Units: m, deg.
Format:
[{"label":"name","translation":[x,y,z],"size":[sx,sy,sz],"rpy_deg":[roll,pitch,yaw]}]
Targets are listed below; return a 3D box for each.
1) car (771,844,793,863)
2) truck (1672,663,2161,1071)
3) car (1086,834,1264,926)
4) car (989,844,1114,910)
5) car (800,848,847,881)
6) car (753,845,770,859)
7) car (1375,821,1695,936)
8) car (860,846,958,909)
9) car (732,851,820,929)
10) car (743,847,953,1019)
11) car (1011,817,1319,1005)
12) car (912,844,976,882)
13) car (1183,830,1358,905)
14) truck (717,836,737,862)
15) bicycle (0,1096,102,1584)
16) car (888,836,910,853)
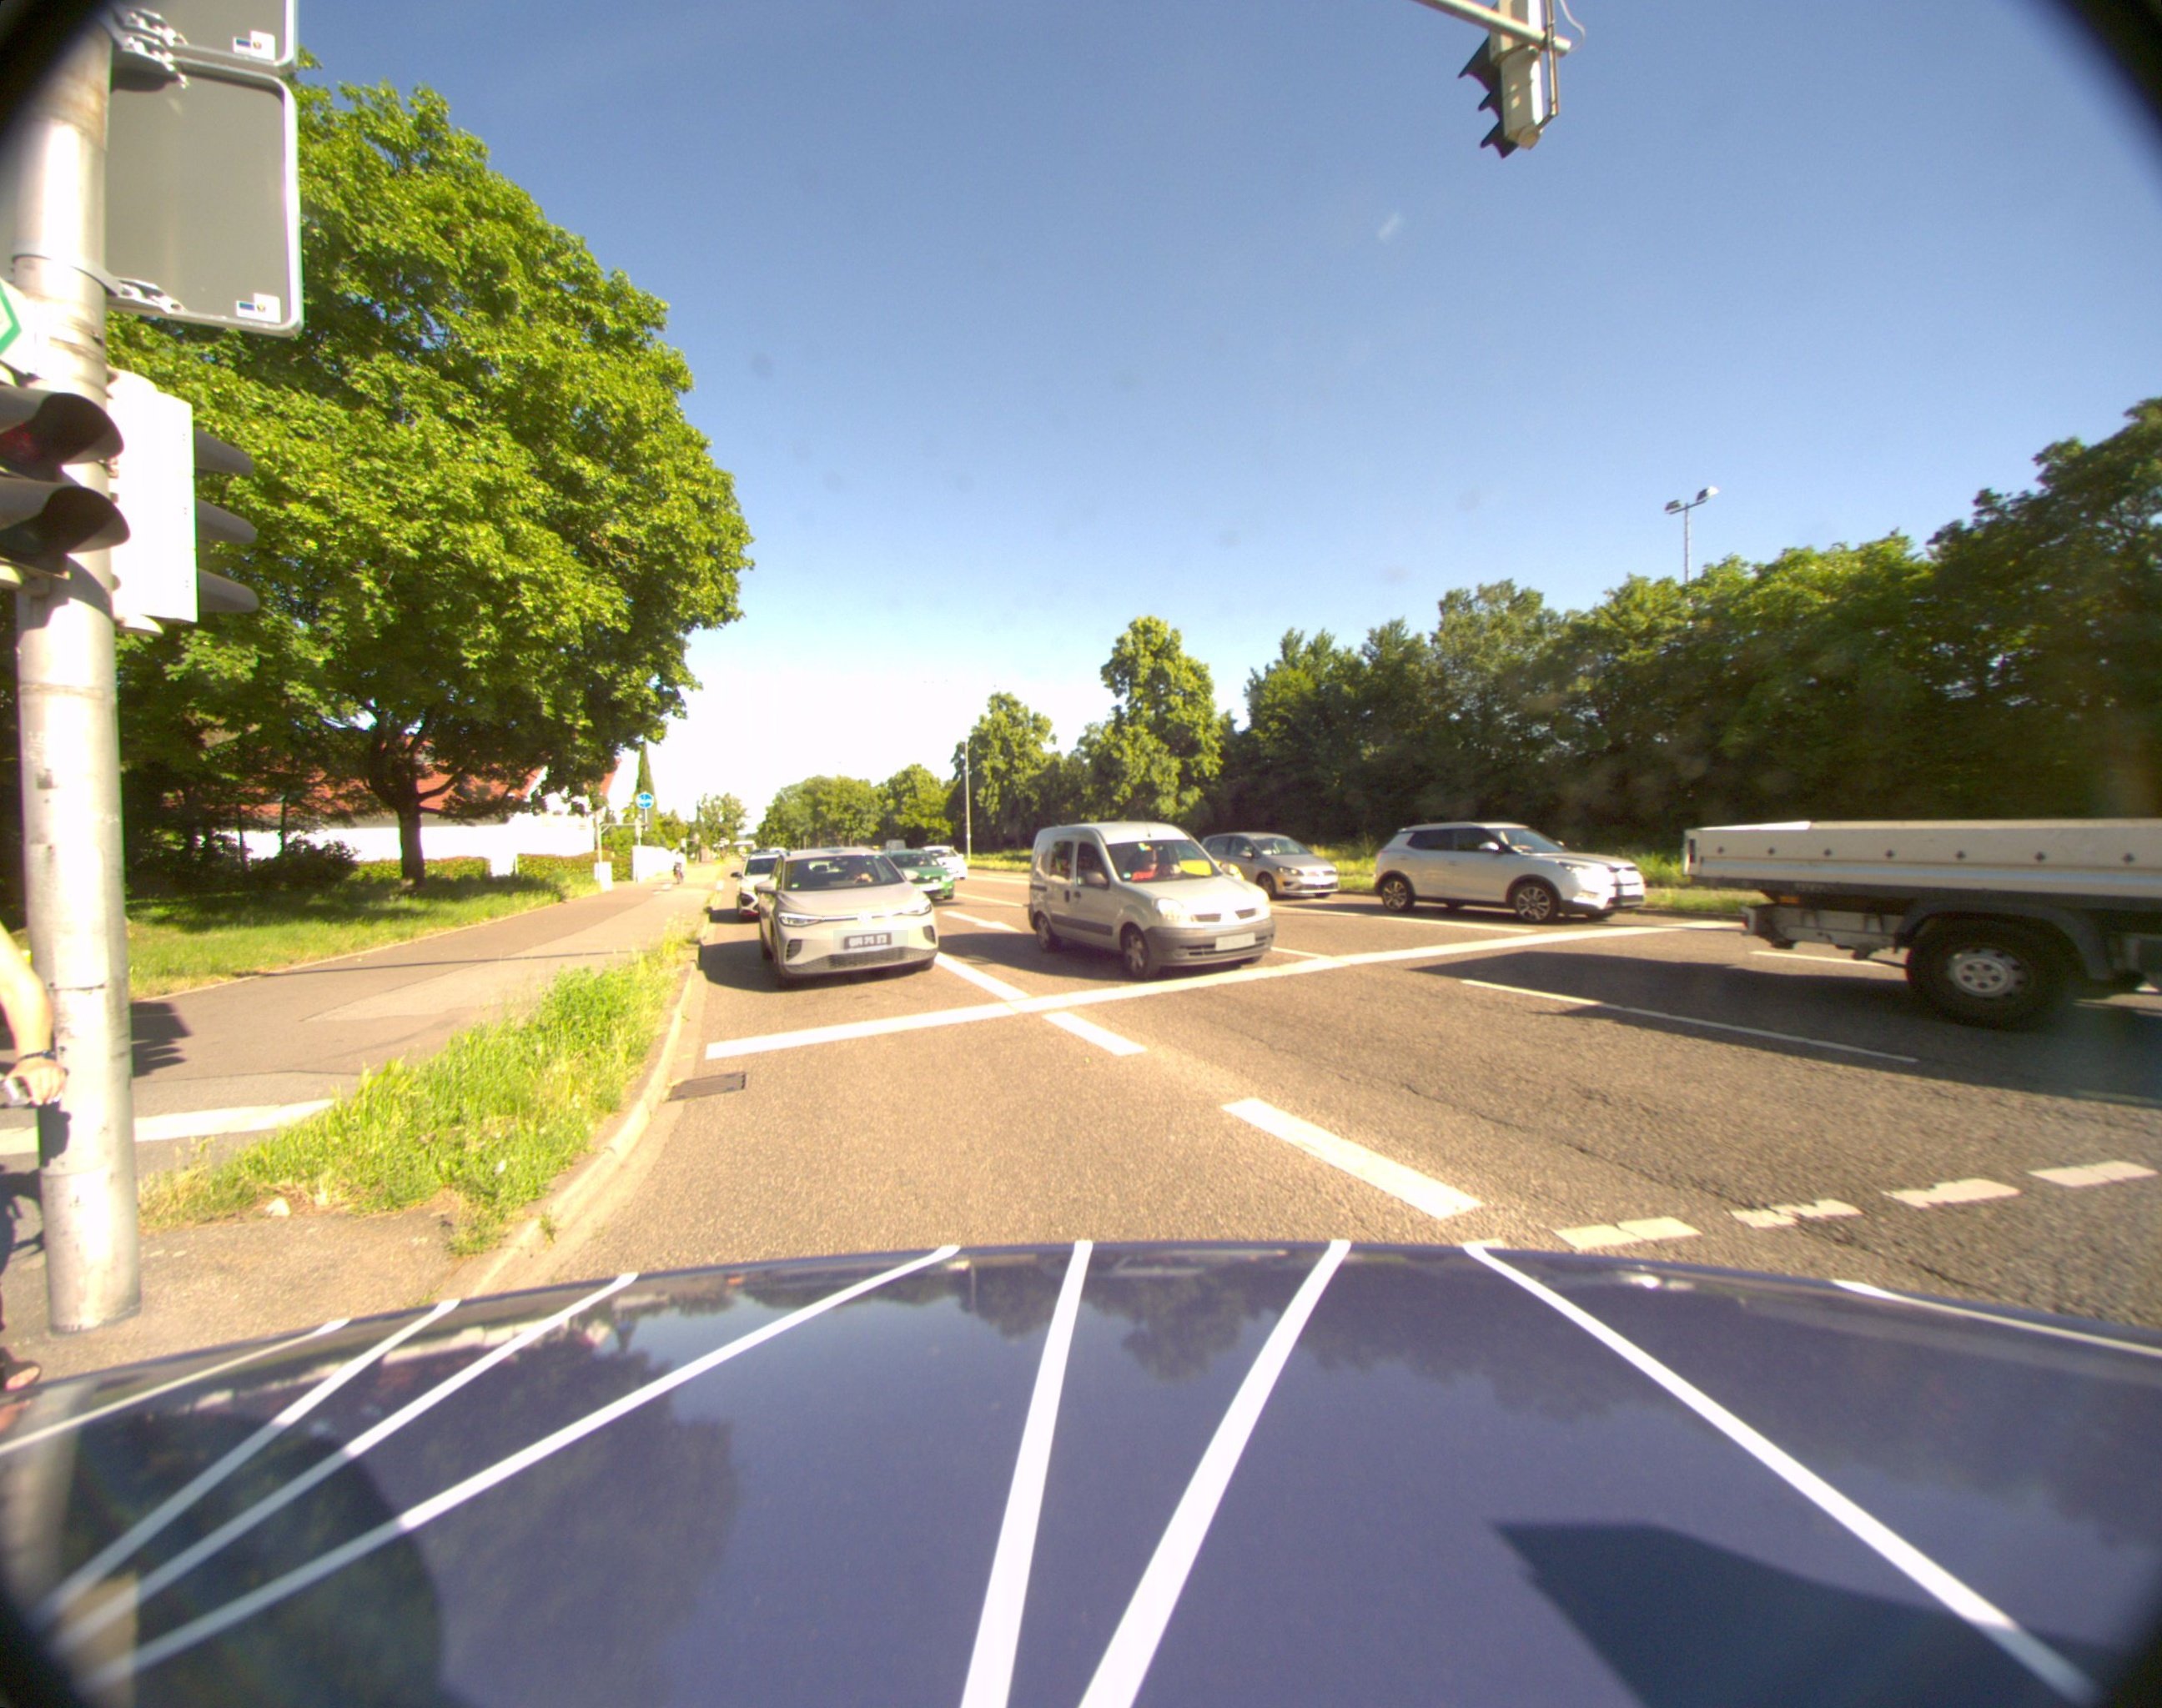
[{"label":"car","translation":[-31.023,-0.083,78.816],"size":[1.801,1.788,3.903],"rpy_deg":[-5,3,-25]},{"label":"truck","translation":[7.473,0.053,3.888],"size":[2.194,2.296,6.759],"rpy_deg":[-2,1,-25]},{"label":"car","translation":[1.714,0.421,15.290],"size":[1.729,1.492,3.992],"rpy_deg":[-5,3,-23]},{"label":"car","translation":[-0.873,0.505,19.439],"size":[1.695,1.432,4.112],"rpy_deg":[-3,2,-25]},{"label":"car","translation":[-13.592,0.513,40.023],"size":[1.922,1.478,4.355],"rpy_deg":[-5,3,-23]},{"label":"car","translation":[-44.871,-0.320,106.645],"size":[1.844,1.788,3.903],"rpy_deg":[-5,3,-25]},{"label":"car","translation":[7.114,0.293,12.429],"size":[1.839,1.529,4.185],"rpy_deg":[-2,1,-25]},{"label":"car","translation":[-5.077,0.587,22.009],"size":[1.922,1.478,4.355],"rpy_deg":[-5,3,-23]},{"label":"car","translation":[-7.612,0.769,18.750],"size":[1.694,1.564,4.112],"rpy_deg":[-5,3,-25]},{"label":"car","translation":[-3.334,0.795,10.172],"size":[1.996,1.631,4.355],"rpy_deg":[-5,3,-25]},{"label":"car","translation":[0.748,0.504,9.674],"size":[1.922,1.719,4.355],"rpy_deg":[-5,3,-23]},{"label":"car","translation":[-5.995,0.337,32.879],"size":[1.694,1.432,3.903],"rpy_deg":[-5,3,-25]},{"label":"car","translation":[4.468,0.253,18.597],"size":[1.882,1.566,4.234],"rpy_deg":[-2,2,-25]},{"label":"truck","translation":[-44.192,-0.657,94.908],"size":[2.002,3.060,5.795],"rpy_deg":[-5,3,-25]},{"label":"bicycle","translation":[-3.429,1.138,1.864],"size":[1.866,1.071,0.531],"rpy_deg":[2,4,15]},{"label":"car","translation":[-24.243,-1.285,101.023],"size":[1.920,2.073,4.530],"rpy_deg":[-5,3,-24]}]
